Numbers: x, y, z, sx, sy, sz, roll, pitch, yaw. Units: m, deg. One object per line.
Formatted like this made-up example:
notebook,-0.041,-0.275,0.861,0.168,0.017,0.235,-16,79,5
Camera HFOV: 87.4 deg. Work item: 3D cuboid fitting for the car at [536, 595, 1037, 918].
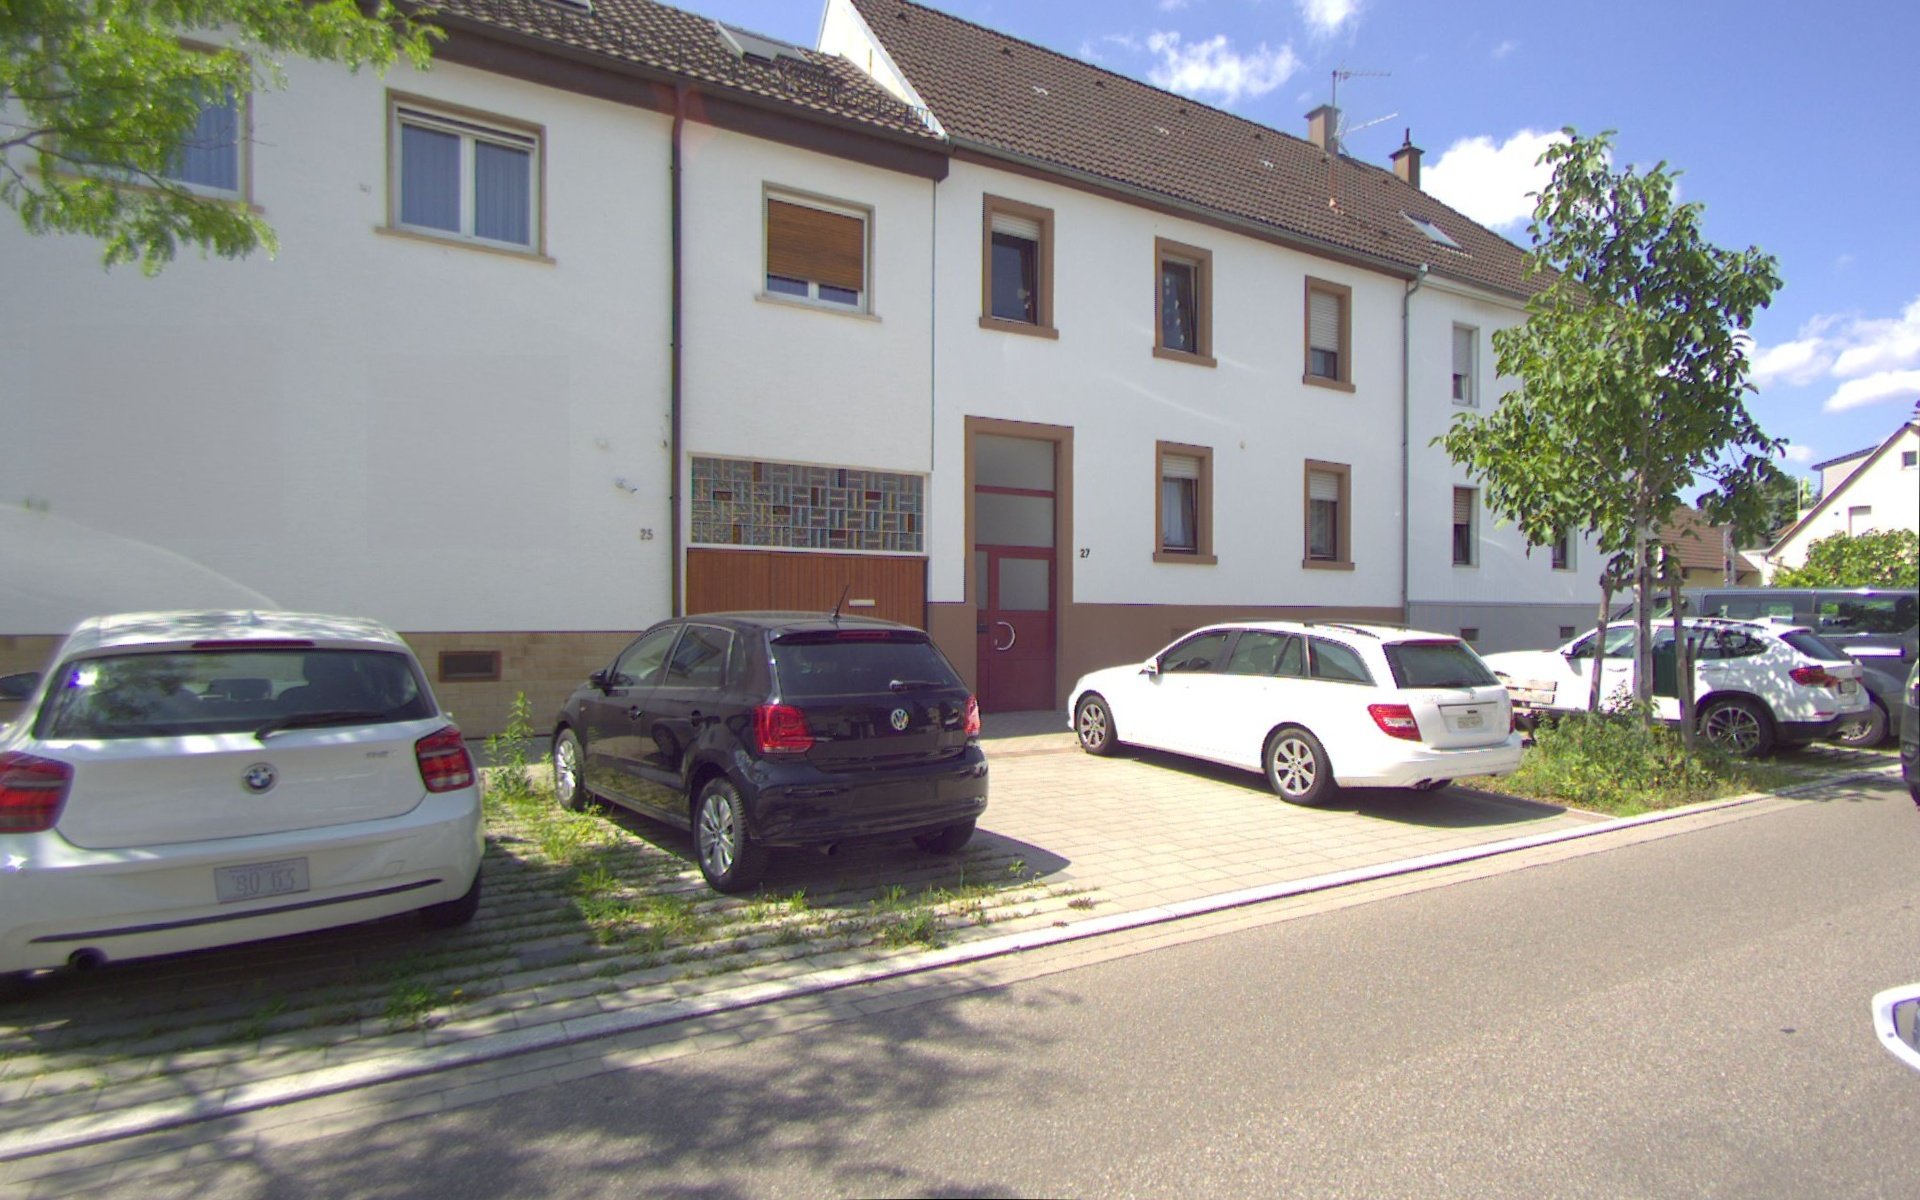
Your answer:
car,-1.411,0.755,6.769,1.645,1.487,3.847,2,0,-39

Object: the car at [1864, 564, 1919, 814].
car,9.968,0.766,8.687,4.845,1.975,2.011,2,-2,-33

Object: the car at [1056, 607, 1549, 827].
car,2.841,0.859,9.362,1.752,1.487,4.276,2,0,-29

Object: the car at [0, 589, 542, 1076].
car,-3.668,0.719,5.151,1.739,1.487,4.039,1,0,-39

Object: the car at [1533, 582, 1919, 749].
car,11.004,0.770,14.208,1.916,1.949,4.675,2,0,-31

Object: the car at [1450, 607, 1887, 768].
car,8.709,0.950,12.725,1.756,1.589,4.156,2,0,-34
